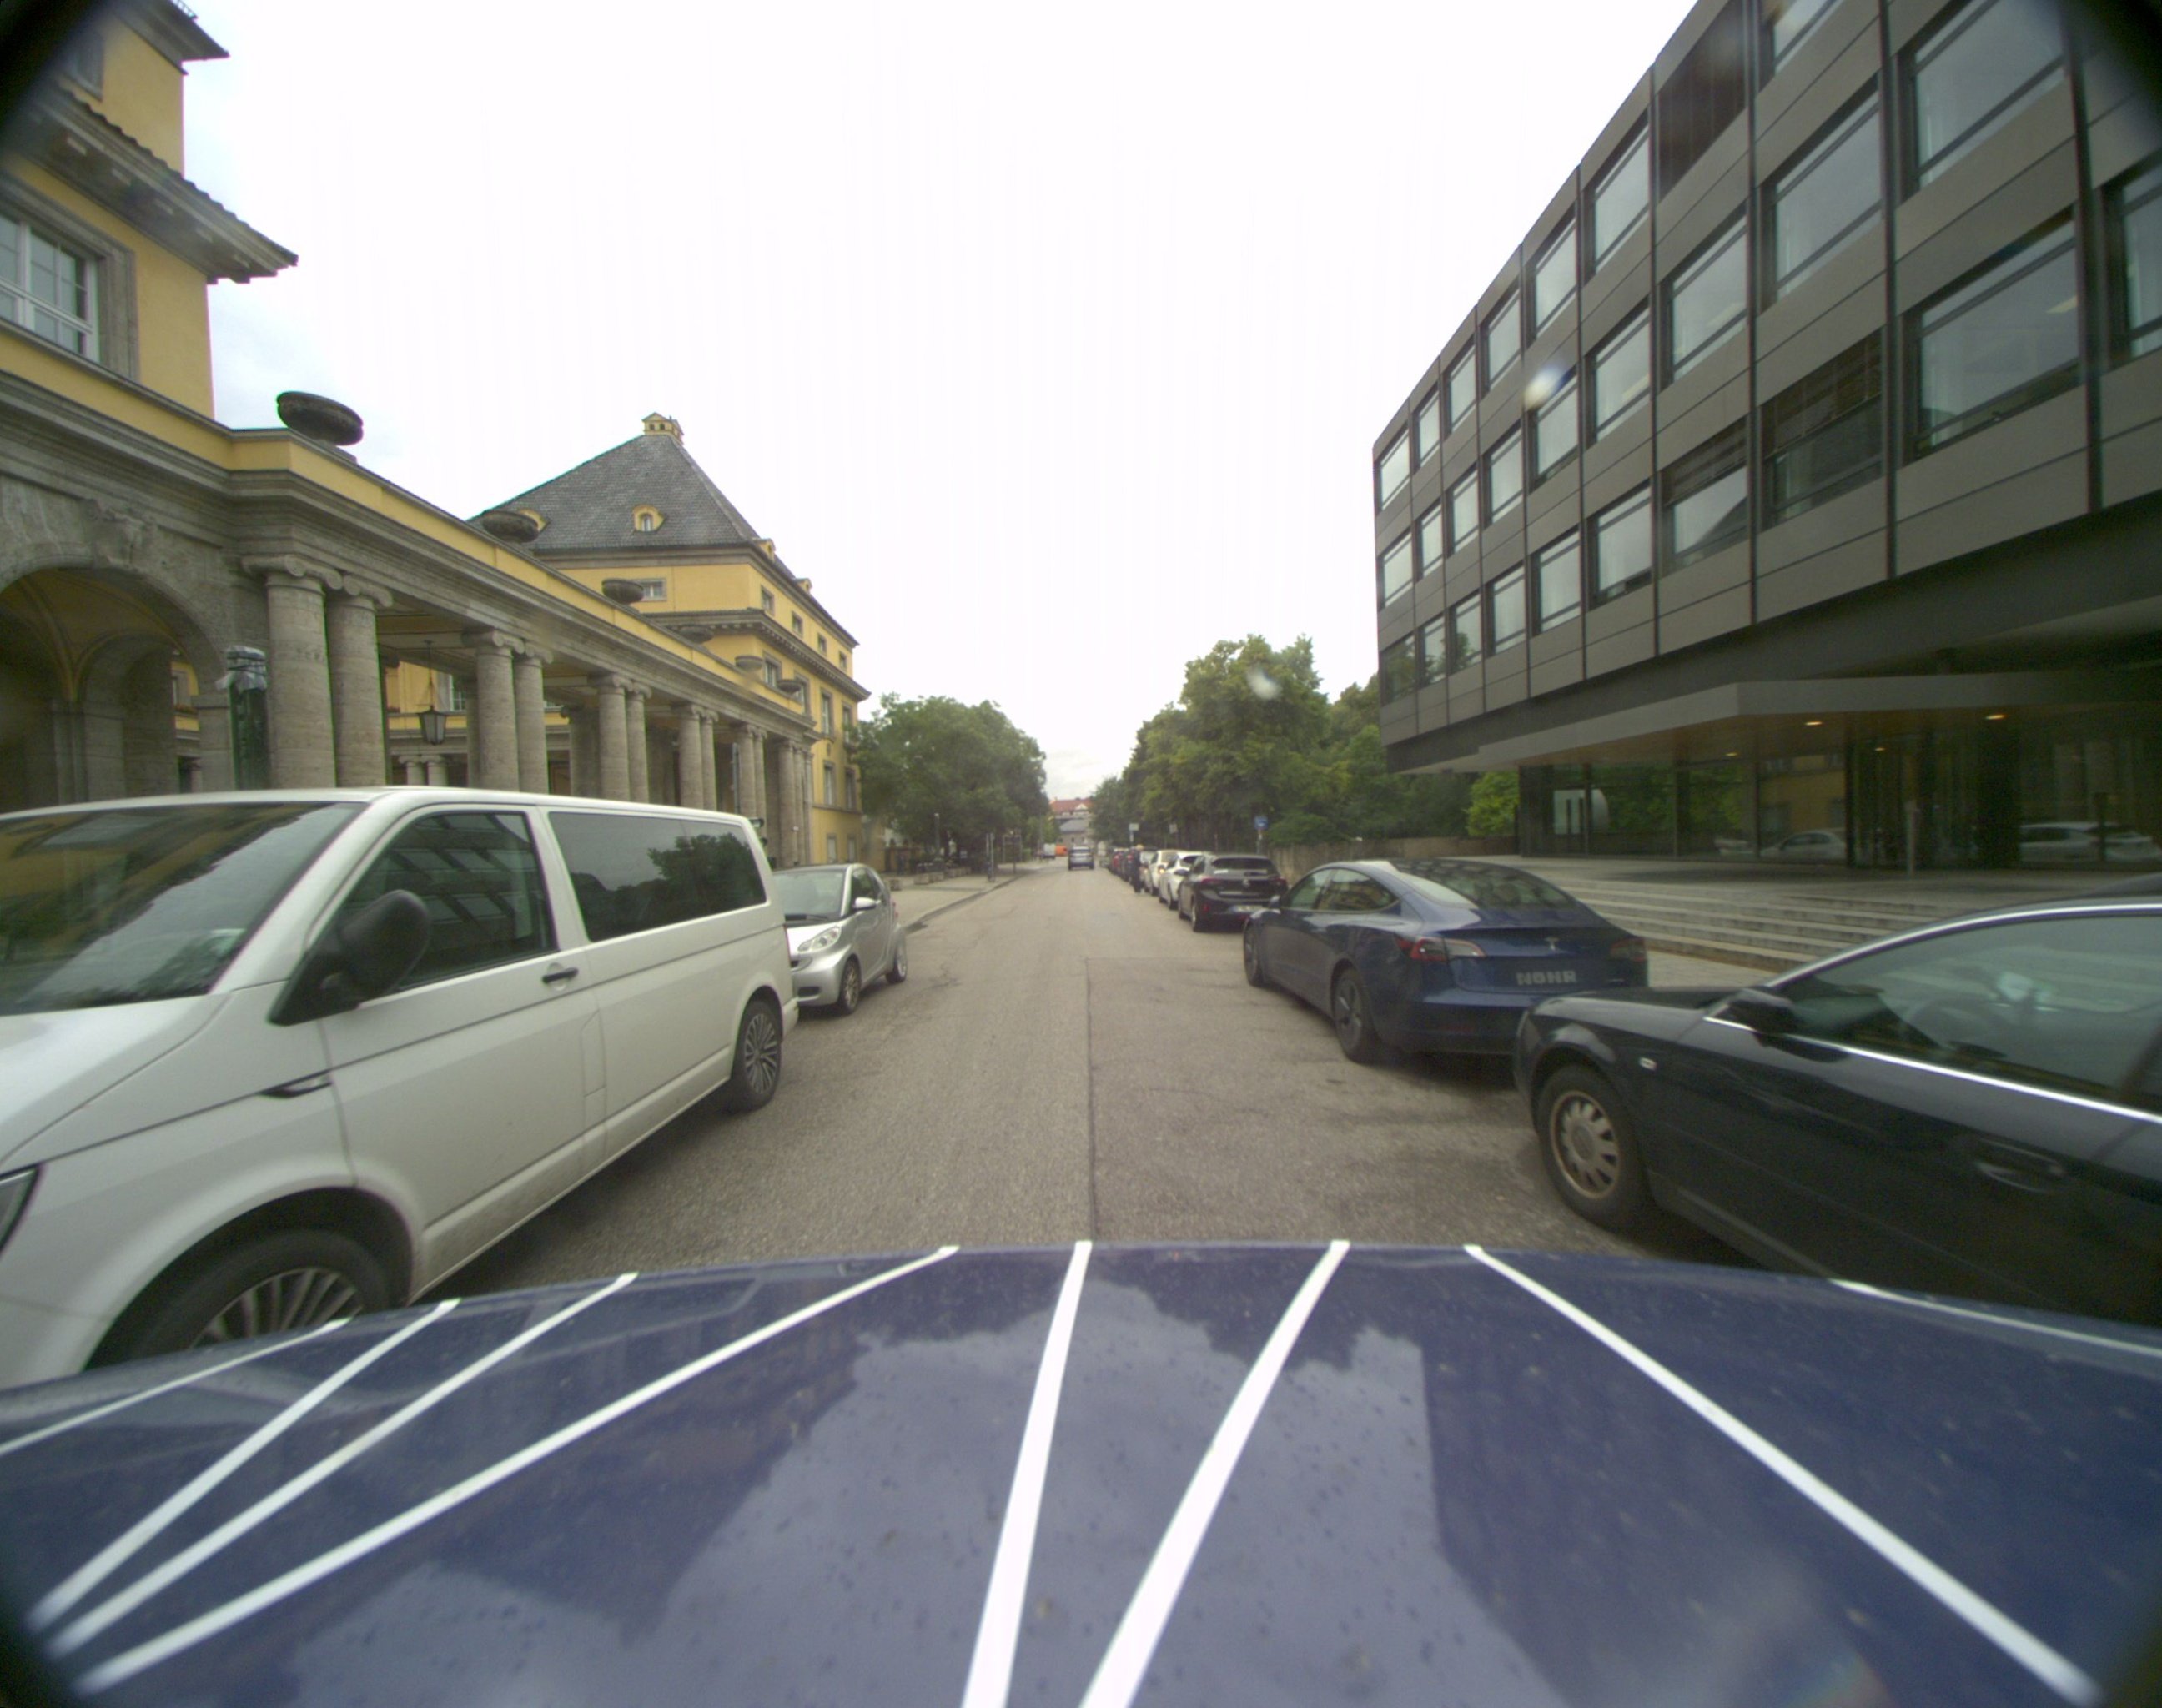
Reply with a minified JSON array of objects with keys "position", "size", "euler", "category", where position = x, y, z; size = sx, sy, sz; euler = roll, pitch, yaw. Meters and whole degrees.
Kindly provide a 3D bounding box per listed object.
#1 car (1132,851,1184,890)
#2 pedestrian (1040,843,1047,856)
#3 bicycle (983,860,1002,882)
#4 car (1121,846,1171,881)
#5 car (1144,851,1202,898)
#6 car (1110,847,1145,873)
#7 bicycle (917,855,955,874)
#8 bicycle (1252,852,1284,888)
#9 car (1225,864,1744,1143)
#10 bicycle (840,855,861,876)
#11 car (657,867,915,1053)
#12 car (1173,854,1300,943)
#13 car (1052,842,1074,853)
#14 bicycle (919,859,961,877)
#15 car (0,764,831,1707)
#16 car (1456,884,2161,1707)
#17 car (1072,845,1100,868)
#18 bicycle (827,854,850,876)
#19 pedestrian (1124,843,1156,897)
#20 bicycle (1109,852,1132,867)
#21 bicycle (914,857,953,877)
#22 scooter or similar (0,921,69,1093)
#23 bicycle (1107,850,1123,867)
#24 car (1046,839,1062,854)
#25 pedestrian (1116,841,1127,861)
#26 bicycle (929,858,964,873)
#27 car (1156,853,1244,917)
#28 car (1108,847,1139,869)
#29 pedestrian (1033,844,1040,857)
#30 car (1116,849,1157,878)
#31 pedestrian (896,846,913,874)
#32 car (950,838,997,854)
[{"position":[3.033,0.618,30.785],"size":[1.762,1.392,4.217],"euler":[1,1,1],"category":"car"},{"position":[-5.323,-0.651,108.349],"size":[0.777,1.855,0.997],"euler":[-5,2,-6],"category":"pedestrian"},{"position":[-4.690,0.871,40.524],"size":[0.762,1.094,2.263],"euler":[0,1,-1],"category":"bicycle"},{"position":[3.060,0.399,36.738],"size":[1.999,1.574,4.521],"euler":[-1,1,0],"category":"car"},{"position":[3.045,0.638,25.707],"size":[1.547,1.462,3.552],"euler":[0,1,0],"category":"car"},{"position":[2.831,0.325,47.151],"size":[1.998,1.535,4.363],"euler":[-1,1,1],"category":"car"},{"position":[-9.043,0.666,47.441],"size":[2.265,1.053,0.601],"euler":[3,1,-11],"category":"bicycle"},{"position":[6.463,0.541,26.367],"size":[0.644,1.158,1.527],"euler":[-4,1,-1],"category":"bicycle"},{"position":[2.775,0.890,6.807],"size":[1.928,1.431,4.916],"euler":[0,1,-1],"category":"car"},{"position":[-14.700,0.727,48.503],"size":[0.601,1.299,2.164],"euler":[-1,1,0],"category":"bicycle"},{"position":[-3.046,1.005,8.489],"size":[1.609,1.537,2.933],"euler":[-4,1,0],"category":"car"},{"position":[2.915,0.758,15.103],"size":[1.744,1.453,4.236],"euler":[0,1,2],"category":"car"},{"position":[-4.496,-1.674,191.872],"size":[4.974,2.521,2.577],"euler":[-3,2,43],"category":"car"},{"position":[-8.259,0.822,44.478],"size":[2.370,1.000,0.677],"euler":[1,1,-9],"category":"bicycle"},{"position":[-2.950,0.838,3.384],"size":[1.850,1.922,5.271],"euler":[-5,1,-1],"category":"car"},{"position":[2.927,0.940,1.546],"size":[1.998,1.482,4.883],"euler":[0,1,1],"category":"car"},{"position":[0.398,0.186,58.515],"size":[2.029,1.679,4.677],"euler":[-1,1,1],"category":"car"},{"position":[-14.706,0.645,46.144],"size":[0.601,1.299,2.263],"euler":[-1,1,0],"category":"bicycle"},{"position":[1.910,0.514,24.799],"size":[0.893,1.742,0.689],"euler":[0,1,-9],"category":"pedestrian"},{"position":[3.064,0.427,59.007],"size":[1.700,1.101,0.598],"euler":[-2,2,-8],"category":"bicycle"},{"position":[-8.850,0.775,45.648],"size":[2.265,1.088,0.601],"euler":[3,1,-11],"category":"bicycle"},{"position":[-8.515,1.182,5.952],"size":[1.009,1.215,0.539],"euler":[0,1,45],"category":"scooter or similar"},{"position":[2.705,0.345,60.532],"size":[0.574,1.275,1.421],"euler":[-3,1,33],"category":"bicycle"},{"position":[-4.619,-1.253,129.015],"size":[2.236,2.289,4.727],"euler":[-5,1,-5],"category":"car"},{"position":[3.728,-0.302,69.539],"size":[0.798,1.722,0.660],"euler":[-5,2,-1],"category":"pedestrian"},{"position":[-8.930,0.745,50.509],"size":[2.262,1.005,0.602],"euler":[0,0,2],"category":"bicycle"},{"position":[3.029,0.731,20.139],"size":[1.686,1.432,4.278],"euler":[1,1,1],"category":"car"},{"position":[2.997,0.284,53.895],"size":[1.998,1.452,4.363],"euler":[-1,1,1],"category":"car"},{"position":[-6.404,-0.531,108.393],"size":[0.777,1.855,0.996],"euler":[-5,2,-8],"category":"pedestrian"},{"position":[3.011,0.474,41.988],"size":[1.998,1.452,4.646],"euler":[-1,1,1],"category":"car"},{"position":[-11.026,0.372,47.466],"size":[0.790,1.736,1.055],"euler":[-1,1,0],"category":"pedestrian"},{"position":[-11.898,-0.904,84.088],"size":[4.909,1.672,1.966],"euler":[-1,1,-2],"category":"car"}]
